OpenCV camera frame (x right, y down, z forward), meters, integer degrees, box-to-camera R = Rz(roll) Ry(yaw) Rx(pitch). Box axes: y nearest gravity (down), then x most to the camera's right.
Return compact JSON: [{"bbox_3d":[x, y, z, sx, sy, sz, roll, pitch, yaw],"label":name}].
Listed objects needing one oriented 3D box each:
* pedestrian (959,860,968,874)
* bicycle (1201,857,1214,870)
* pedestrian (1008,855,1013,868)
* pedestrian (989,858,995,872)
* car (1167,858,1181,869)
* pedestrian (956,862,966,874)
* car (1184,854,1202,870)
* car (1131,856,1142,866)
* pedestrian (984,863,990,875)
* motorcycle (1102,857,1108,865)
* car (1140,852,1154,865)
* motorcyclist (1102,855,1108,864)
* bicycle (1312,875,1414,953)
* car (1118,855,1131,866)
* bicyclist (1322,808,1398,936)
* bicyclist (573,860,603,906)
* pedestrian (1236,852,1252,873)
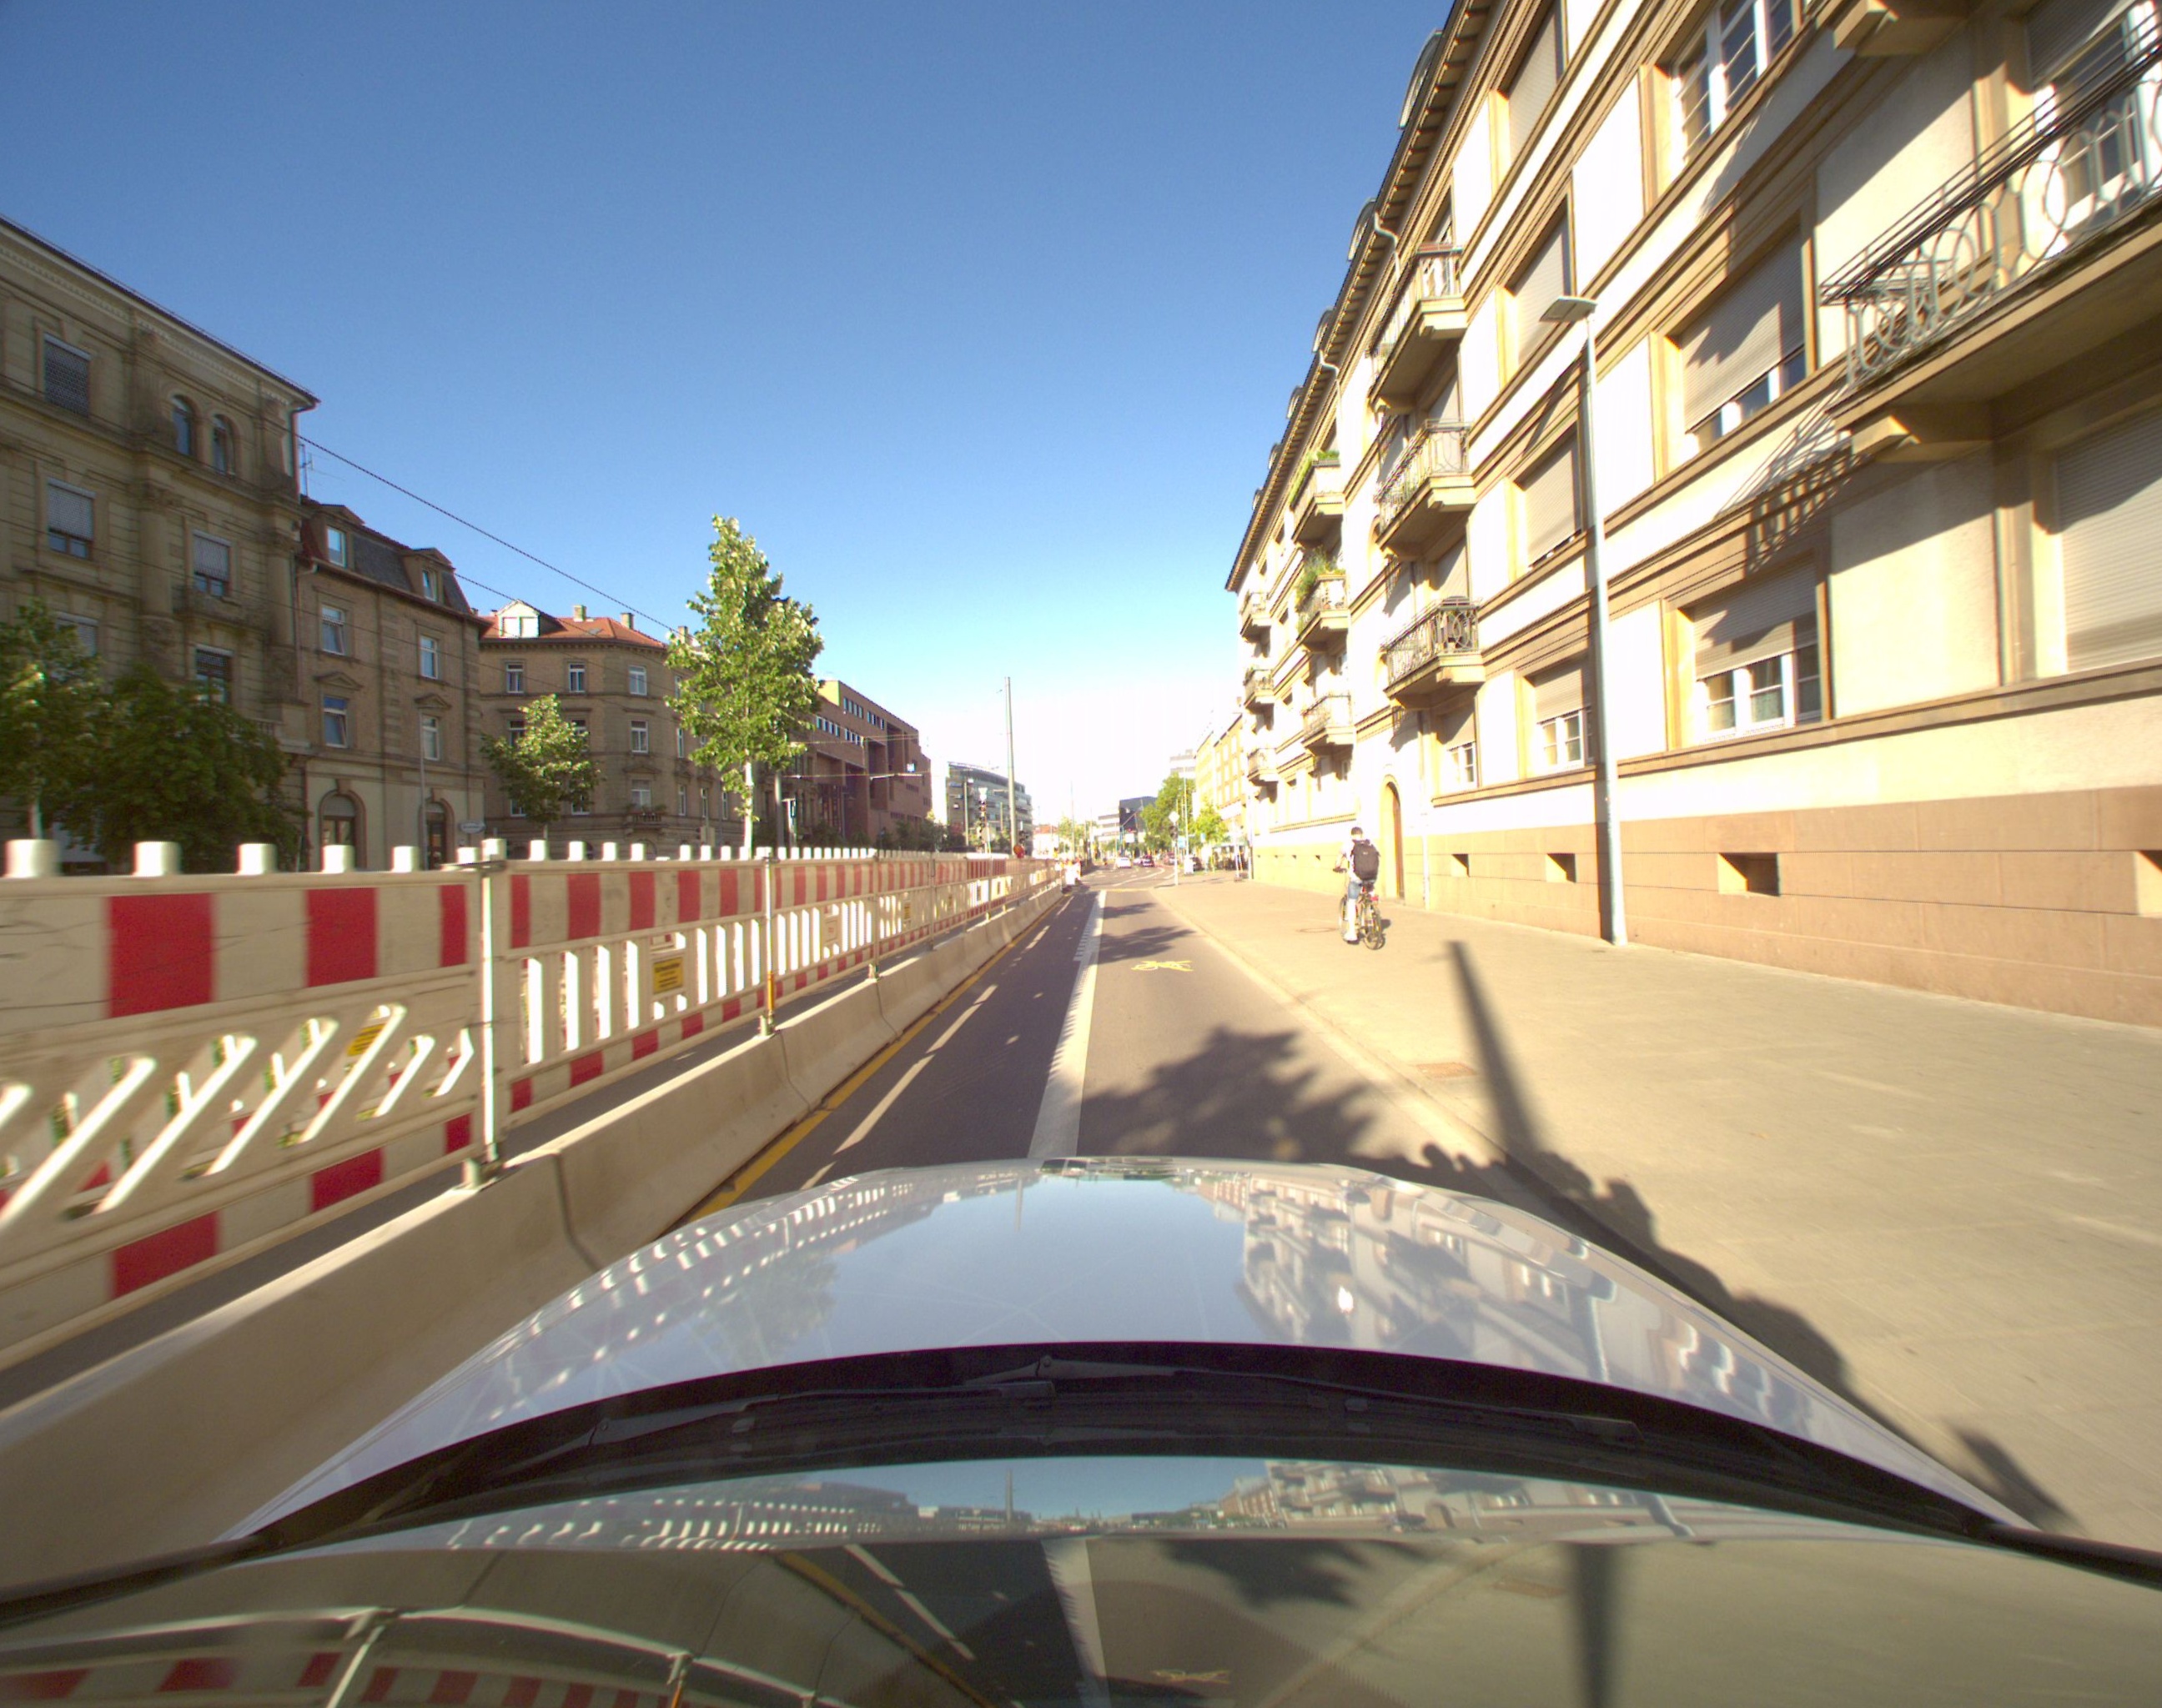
[{"bbox_3d":[-11.609,1.282,80.606,0.643,1.309,0.722,-4,-1,2],"label":"pedestrian"},{"bbox_3d":[12.151,0.940,78.227,0.763,1.081,1.997,-7,-1,-1],"label":"bicycle"},{"bbox_3d":[-9.955,1.054,114.924,0.637,1.696,0.541,0,0,2],"label":"pedestrian"},{"bbox_3d":[-11.533,1.400,105.325,0.620,1.714,0.616,-1,0,2],"label":"pedestrian"},{"bbox_3d":[14.747,1.477,129.579,1.839,1.560,4.636,0,1,3],"label":"car"},{"bbox_3d":[-11.577,1.351,78.563,0.718,1.168,0.722,-4,-1,2],"label":"pedestrian"},{"bbox_3d":[12.149,0.856,88.172,1.711,1.637,4.241,-3,-1,9],"label":"car"},{"bbox_3d":[9.718,1.213,142.222,1.843,1.497,4.381,-2,0,2],"label":"car"},{"bbox_3d":[-11.165,1.746,96.782,0.537,1.459,0.643,0,0,3],"label":"pedestrian"},{"bbox_3d":[4.086,1.098,137.618,1.015,1.312,2.917,0,0,3],"label":"motorcycle"},{"bbox_3d":[9.479,0.625,117.376,1.967,1.759,4.636,0,0,3],"label":"car"},{"bbox_3d":[4.082,0.894,137.684,1.015,1.603,1.149,0,0,3],"label":"motorcyclist"},{"bbox_3d":[4.088,0.835,12.011,0.764,0.953,2.199,-3,0,2],"label":"bicycle"},{"bbox_3d":[5.941,0.854,111.790,1.773,1.414,4.821,0,0,2],"label":"car"},{"bbox_3d":[4.040,0.248,11.876,0.730,1.763,0.938,-3,-1,1],"label":"bicyclist"},{"bbox_3d":[-19.830,1.161,32.781,0.886,1.774,0.849,-2,-1,-24],"label":"bicyclist"},{"bbox_3d":[14.123,0.734,70.581,0.875,1.763,1.112,-5,-2,29],"label":"pedestrian"}]
